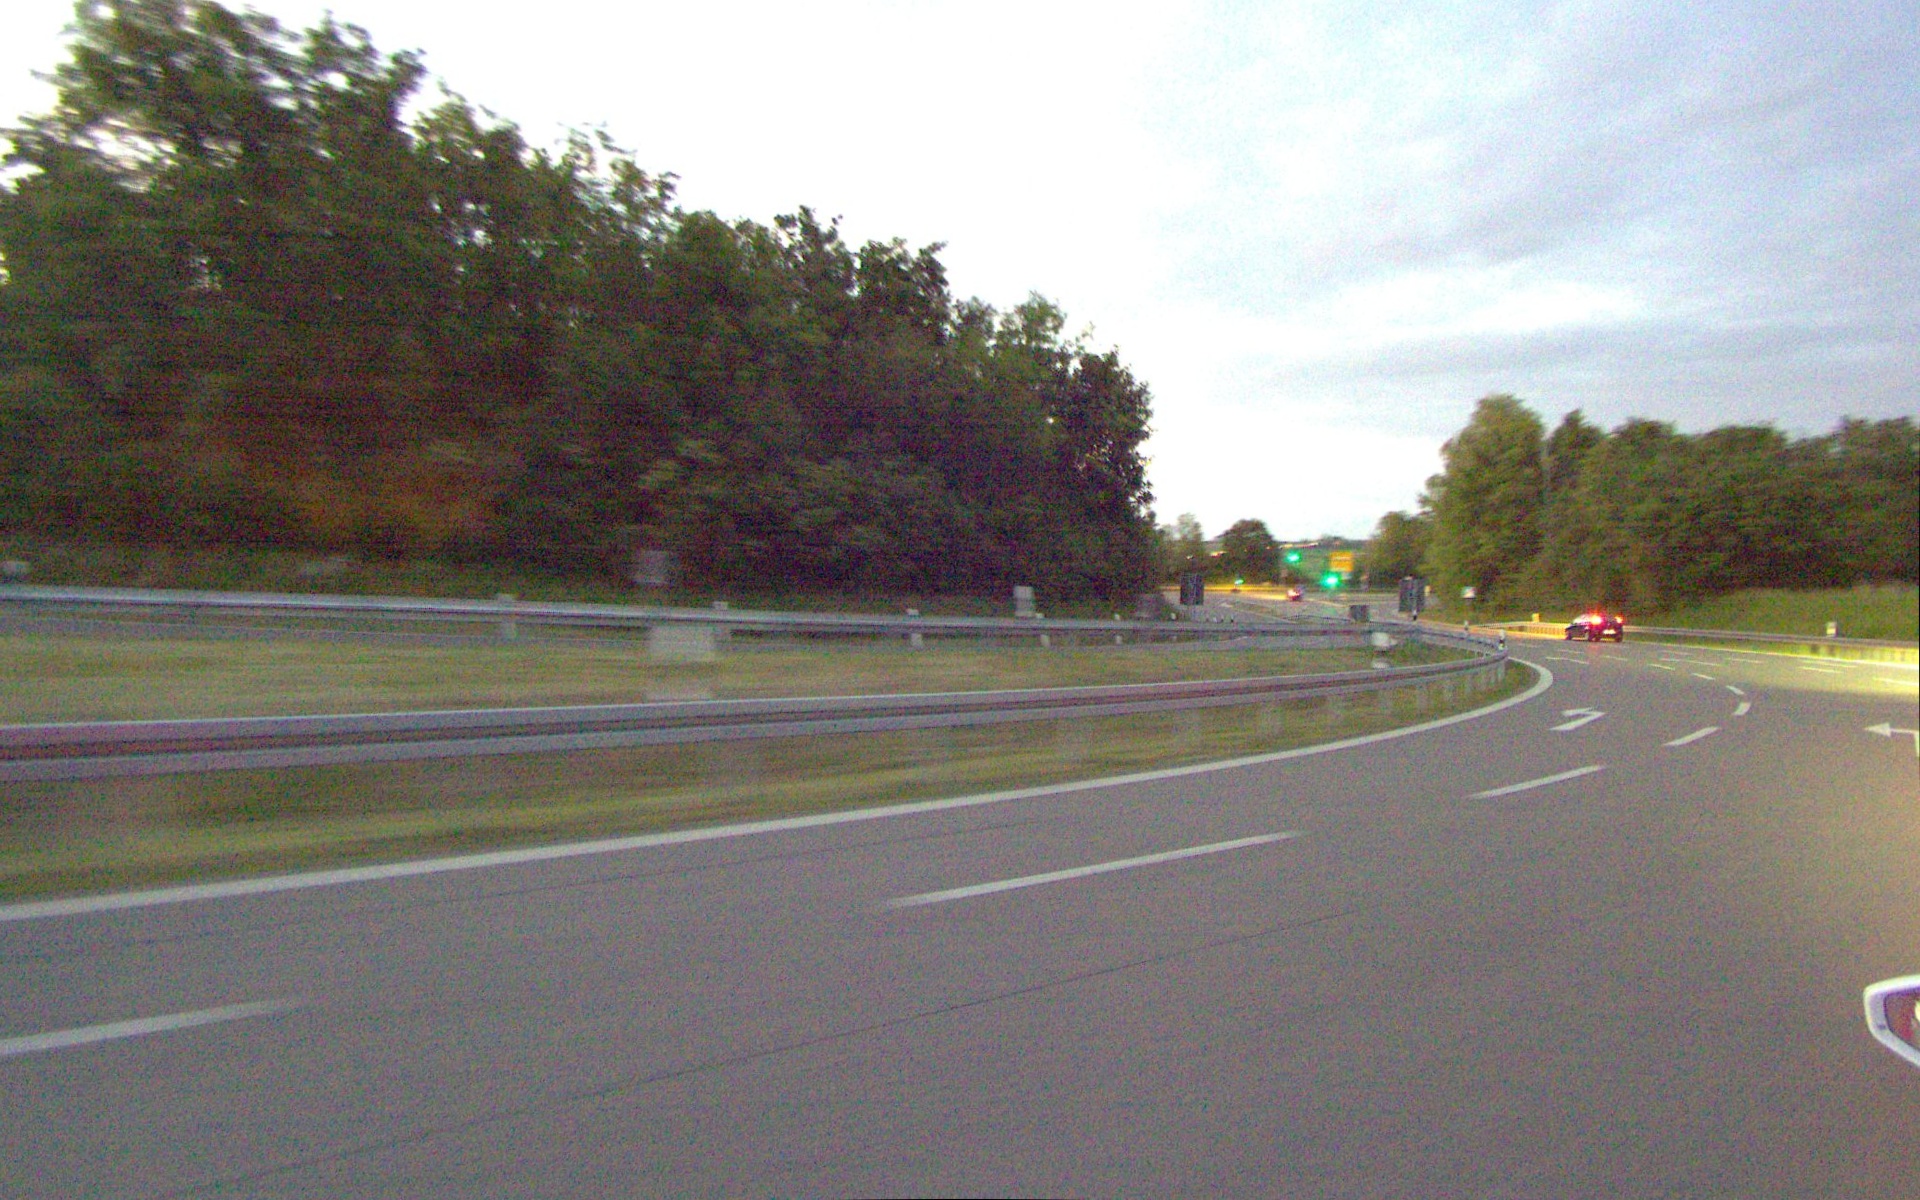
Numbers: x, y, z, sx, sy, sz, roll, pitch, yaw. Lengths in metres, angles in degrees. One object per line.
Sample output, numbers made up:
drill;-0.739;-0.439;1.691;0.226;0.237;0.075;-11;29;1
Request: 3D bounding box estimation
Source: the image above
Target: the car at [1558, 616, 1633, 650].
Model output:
car;34.343;1.745;54.404;1.959;1.620;4.002;3;1;10
